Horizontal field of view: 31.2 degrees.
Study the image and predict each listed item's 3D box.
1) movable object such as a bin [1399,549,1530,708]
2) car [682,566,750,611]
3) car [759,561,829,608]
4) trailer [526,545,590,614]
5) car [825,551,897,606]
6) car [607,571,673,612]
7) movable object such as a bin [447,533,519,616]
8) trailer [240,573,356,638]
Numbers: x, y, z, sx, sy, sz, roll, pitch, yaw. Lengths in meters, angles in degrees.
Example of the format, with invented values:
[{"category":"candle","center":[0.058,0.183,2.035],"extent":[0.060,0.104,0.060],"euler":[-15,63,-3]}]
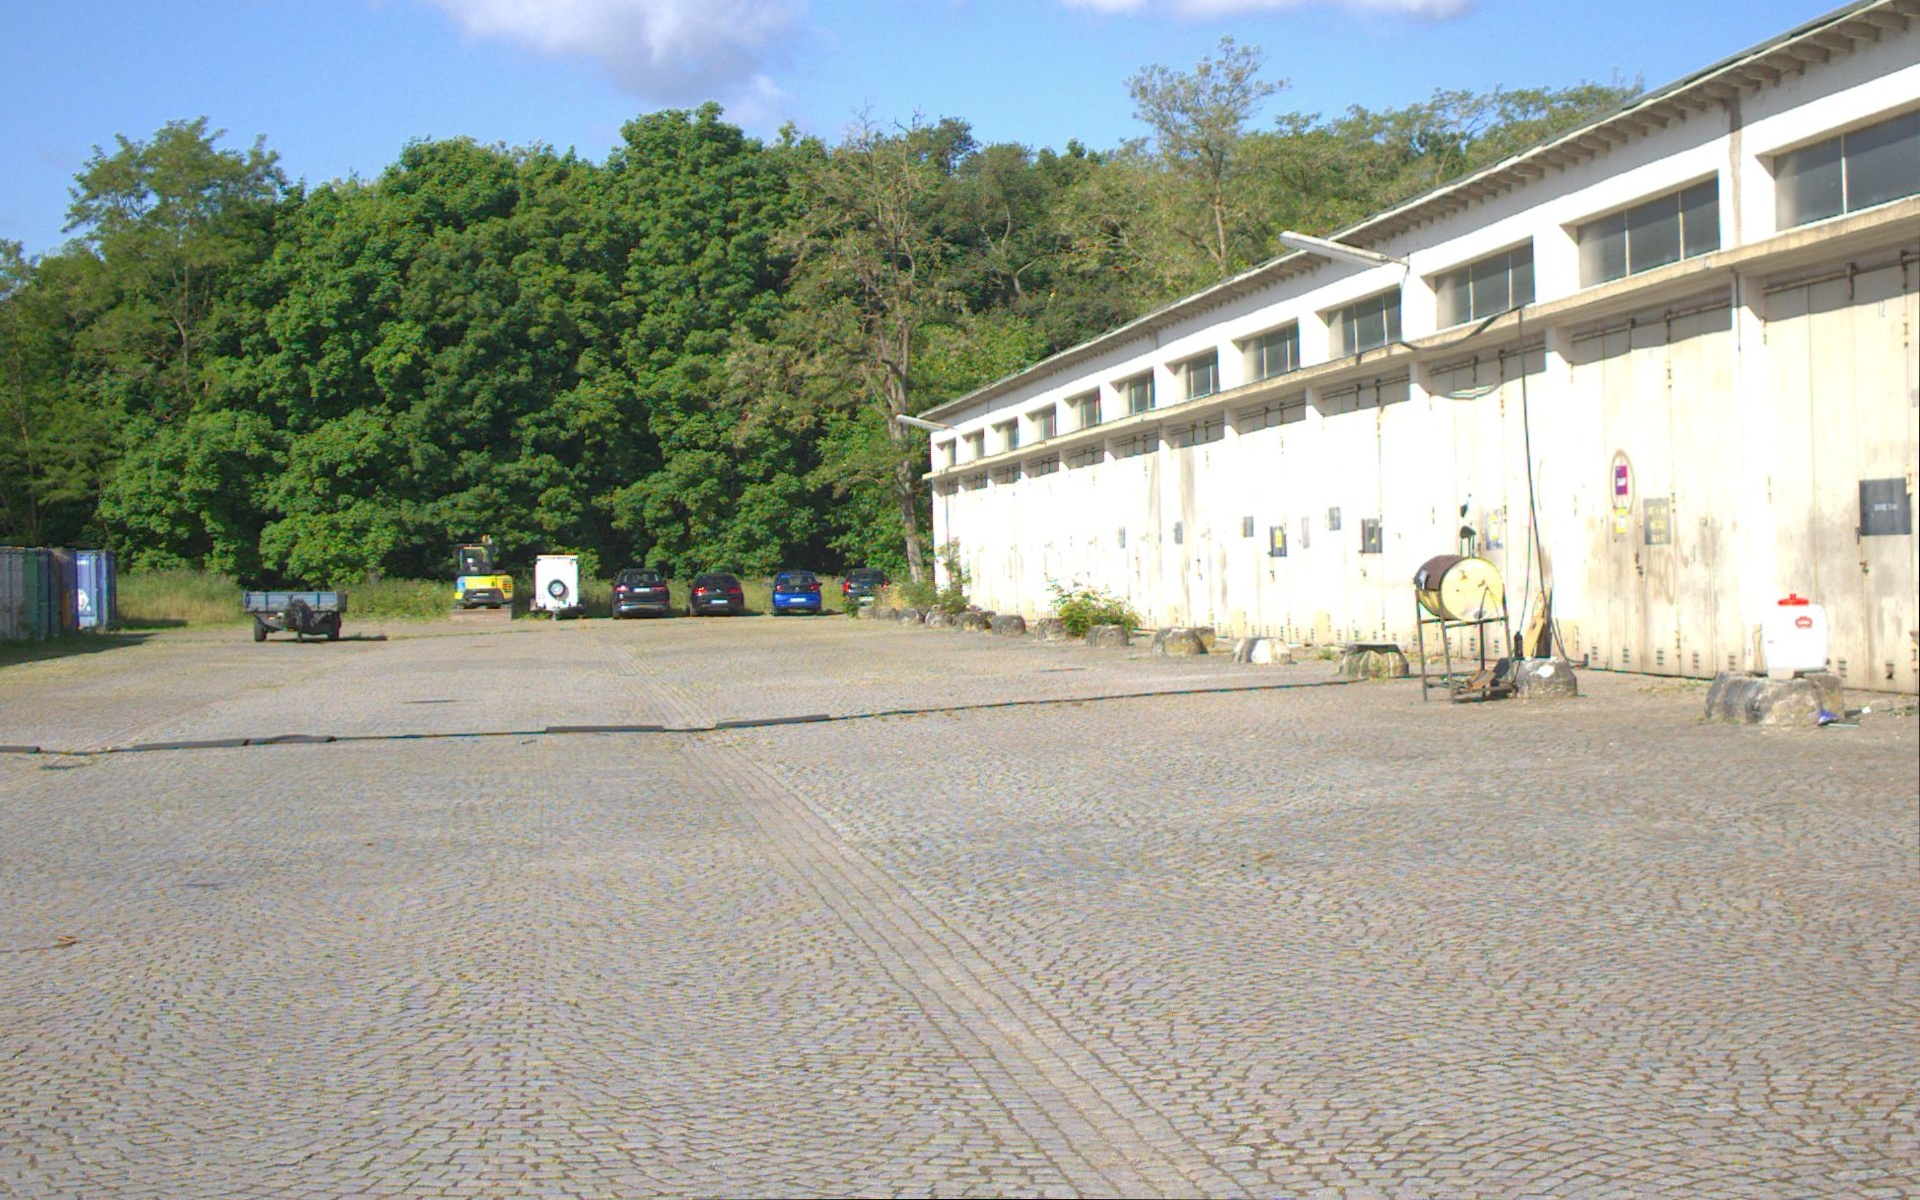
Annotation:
[{"category":"movable object such as a bin","center":[4.581,0.253,31.272],"extent":[0.874,1.396,1.102],"euler":[-2,0,-8]},{"category":"car","center":[-8.105,-0.396,113.940],"extent":[1.993,1.419,4.001],"euler":[-2,1,-7]},{"category":"car","center":[-5.531,-0.517,114.221],"extent":[1.993,1.461,4.001],"euler":[-2,1,-7]},{"category":"trailer","center":[-13.385,-0.687,114.203],"extent":[1.993,2.155,4.433],"euler":[-2,1,-7]},{"category":"car","center":[-3.338,-0.722,115.723],"extent":[1.993,1.766,4.001],"euler":[-2,1,-7]},{"category":"car","center":[-10.571,-0.287,113.284],"extent":[1.993,1.254,4.001],"euler":[-2,1,-7]},{"category":"movable object such as a bin","center":[-15.929,-0.847,114.674],"extent":[2.231,2.648,4.001],"euler":[-2,1,-9]},{"category":"trailer","center":[-18.251,0.133,94.974],"extent":[2.790,1.640,5.622],"euler":[-2,1,-8]}]
